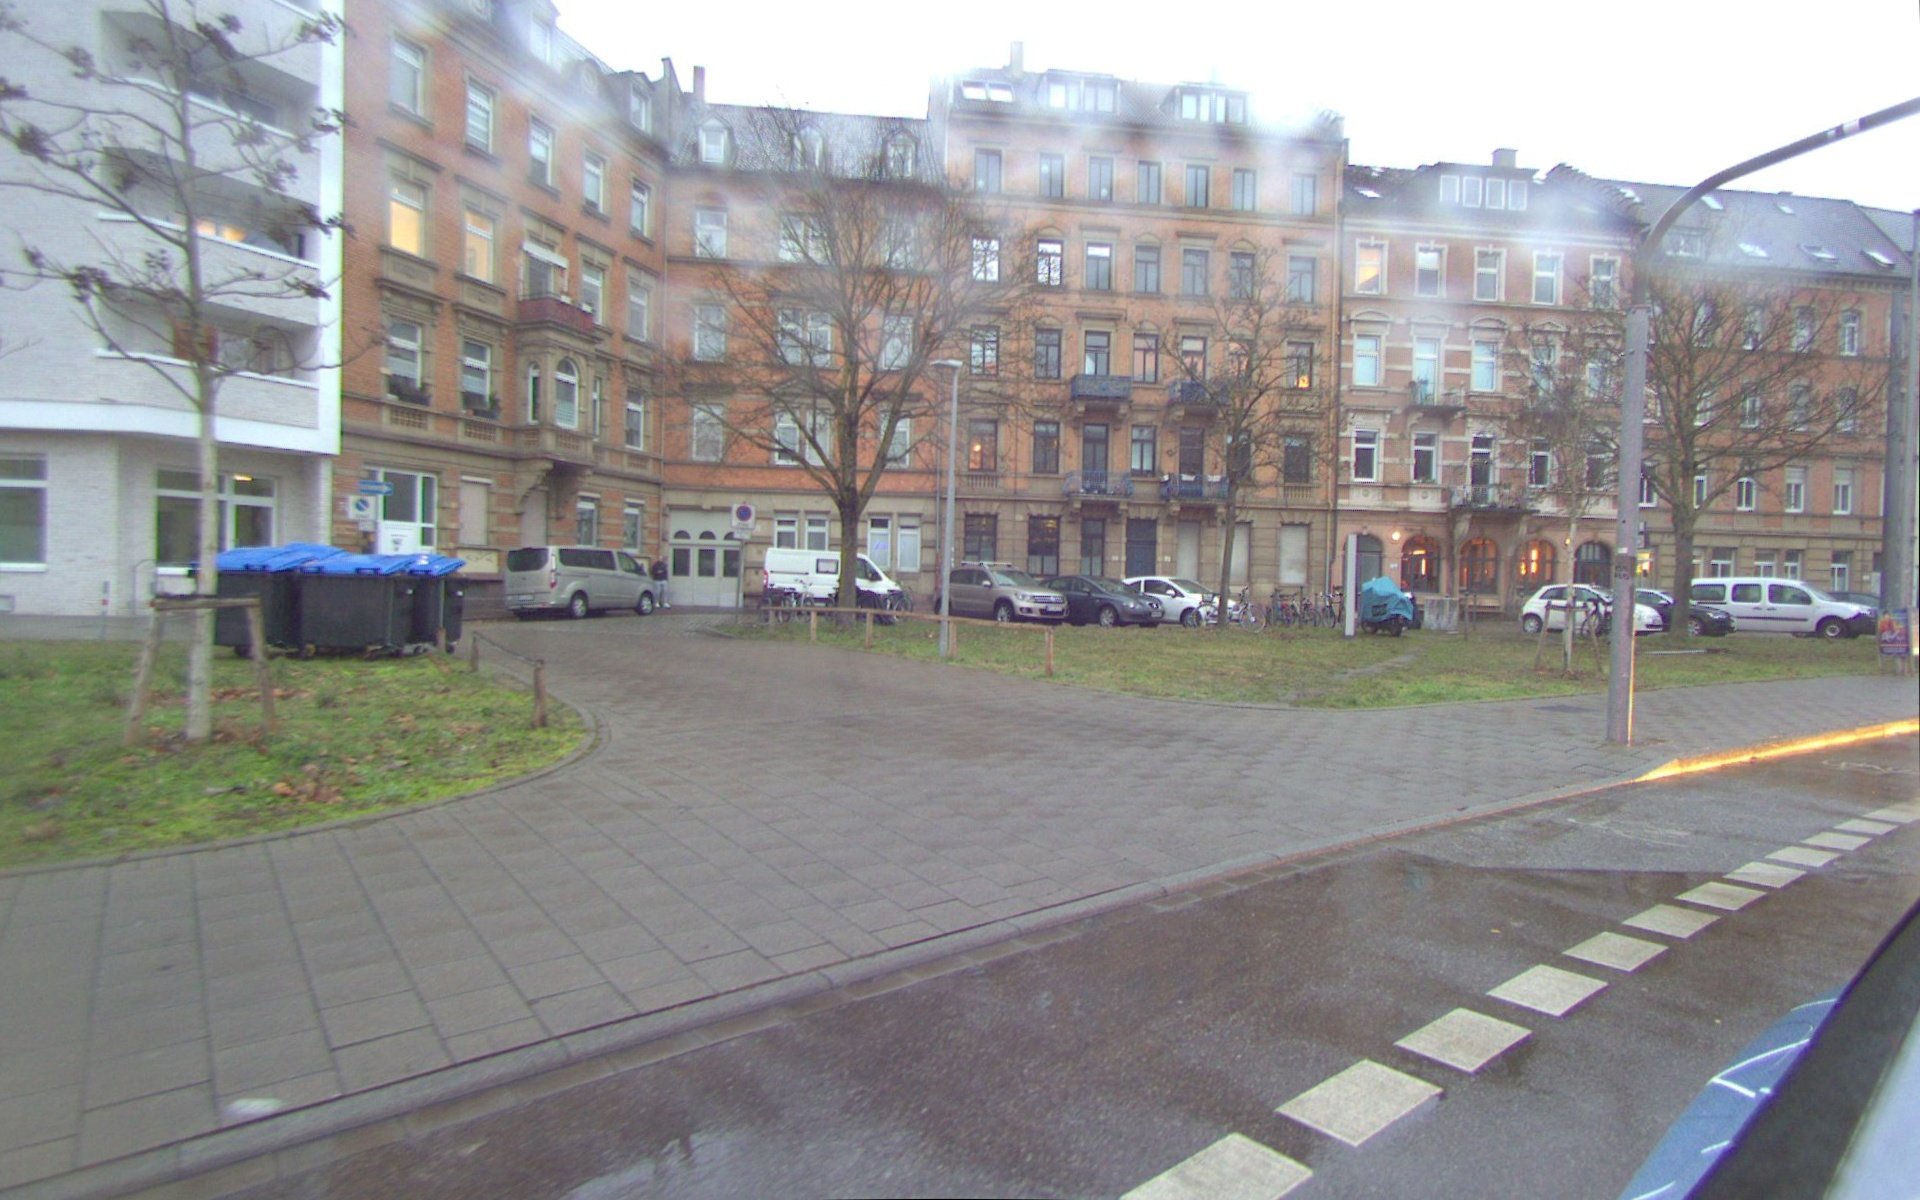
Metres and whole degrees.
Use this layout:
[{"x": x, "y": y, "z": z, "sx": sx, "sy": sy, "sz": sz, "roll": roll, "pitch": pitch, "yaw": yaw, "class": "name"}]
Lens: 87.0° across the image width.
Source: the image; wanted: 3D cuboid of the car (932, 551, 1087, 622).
[{"x": 1.222, "y": -0.412, "z": 26.416, "sx": 1.908, "sy": 1.656, "sz": 3.999, "roll": -1, "pitch": 3, "yaw": -37, "class": "car"}]

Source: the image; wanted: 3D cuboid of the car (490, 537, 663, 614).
[{"x": -10.650, "y": -0.597, "z": 28.522, "sx": 1.975, "sy": 1.943, "sz": 4.715, "roll": -1, "pitch": -1, "yaw": 21, "class": "car"}]

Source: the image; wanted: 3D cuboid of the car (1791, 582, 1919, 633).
[{"x": 27.013, "y": 0.249, "z": 29.395, "sx": 1.737, "sy": 1.250, "sz": 4.066, "roll": 2, "pitch": 3, "yaw": -35, "class": "car"}]

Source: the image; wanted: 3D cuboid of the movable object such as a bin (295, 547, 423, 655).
[{"x": -8.371, "y": -0.004, "z": 14.158, "sx": 1.200, "sy": 1.433, "sz": 1.018, "roll": 1, "pitch": 2, "yaw": -3, "class": "movable object such as a bin"}]

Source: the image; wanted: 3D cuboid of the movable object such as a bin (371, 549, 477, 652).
[{"x": -8.091, "y": 0.018, "z": 15.325, "sx": 1.022, "sy": 1.509, "sz": 1.035, "roll": 0, "pitch": -1, "yaw": 6, "class": "movable object such as a bin"}]

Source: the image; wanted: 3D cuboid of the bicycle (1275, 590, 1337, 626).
[{"x": 9.969, "y": 0.217, "z": 29.250, "sx": 0.613, "sy": 0.978, "sz": 2.175, "roll": 3, "pitch": -1, "yaw": -13, "class": "bicycle"}]

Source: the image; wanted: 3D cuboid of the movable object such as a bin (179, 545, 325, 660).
[{"x": -9.721, "y": 0.027, "z": 13.959, "sx": 1.303, "sy": 1.514, "sz": 1.032, "roll": 1, "pitch": 1, "yaw": -3, "class": "movable object such as a bin"}]

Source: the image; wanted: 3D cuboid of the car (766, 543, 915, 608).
[{"x": -4.088, "y": -0.838, "z": 34.446, "sx": 4.884, "sy": 2.038, "sz": 2.004, "roll": 1, "pitch": 2, "yaw": -9, "class": "car"}]

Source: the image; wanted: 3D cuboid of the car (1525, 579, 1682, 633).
[{"x": 18.319, "y": 0.167, "z": 28.930, "sx": 1.583, "sy": 1.461, "sz": 3.467, "roll": 1, "pitch": -1, "yaw": -35, "class": "car"}]

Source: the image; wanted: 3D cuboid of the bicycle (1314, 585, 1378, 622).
[{"x": 11.192, "y": 0.093, "z": 29.402, "sx": 0.613, "sy": 0.978, "sz": 2.176, "roll": 1, "pitch": 2, "yaw": -13, "class": "bicycle"}]

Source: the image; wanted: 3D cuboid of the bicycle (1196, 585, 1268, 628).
[{"x": 6.530, "y": 0.155, "z": 24.372, "sx": 1.628, "sy": 0.948, "sz": 0.512, "roll": 2, "pitch": 1, "yaw": 15, "class": "bicycle"}]

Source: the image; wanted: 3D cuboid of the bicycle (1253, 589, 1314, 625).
[{"x": 9.274, "y": 0.194, "z": 29.125, "sx": 0.613, "sy": 0.978, "sz": 2.175, "roll": 3, "pitch": -1, "yaw": -13, "class": "bicycle"}]

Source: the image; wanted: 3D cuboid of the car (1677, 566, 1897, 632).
[{"x": 24.015, "y": -0.095, "z": 29.582, "sx": 1.745, "sy": 1.611, "sz": 4.663, "roll": 0, "pitch": 3, "yaw": -37, "class": "car"}]

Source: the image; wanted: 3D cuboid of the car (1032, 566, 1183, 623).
[{"x": 3.806, "y": -0.148, "z": 26.580, "sx": 1.649, "sy": 1.372, "sz": 3.737, "roll": 2, "pitch": -1, "yaw": -42, "class": "car"}]

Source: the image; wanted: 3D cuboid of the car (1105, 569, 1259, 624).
[{"x": 5.968, "y": -0.132, "z": 27.537, "sx": 1.669, "sy": 1.353, "sz": 3.852, "roll": 0, "pitch": 1, "yaw": -42, "class": "car"}]

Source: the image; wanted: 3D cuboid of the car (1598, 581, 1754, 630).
[{"x": 20.947, "y": 0.133, "z": 29.679, "sx": 1.634, "sy": 1.368, "sz": 3.430, "roll": 1, "pitch": 0, "yaw": -39, "class": "car"}]
